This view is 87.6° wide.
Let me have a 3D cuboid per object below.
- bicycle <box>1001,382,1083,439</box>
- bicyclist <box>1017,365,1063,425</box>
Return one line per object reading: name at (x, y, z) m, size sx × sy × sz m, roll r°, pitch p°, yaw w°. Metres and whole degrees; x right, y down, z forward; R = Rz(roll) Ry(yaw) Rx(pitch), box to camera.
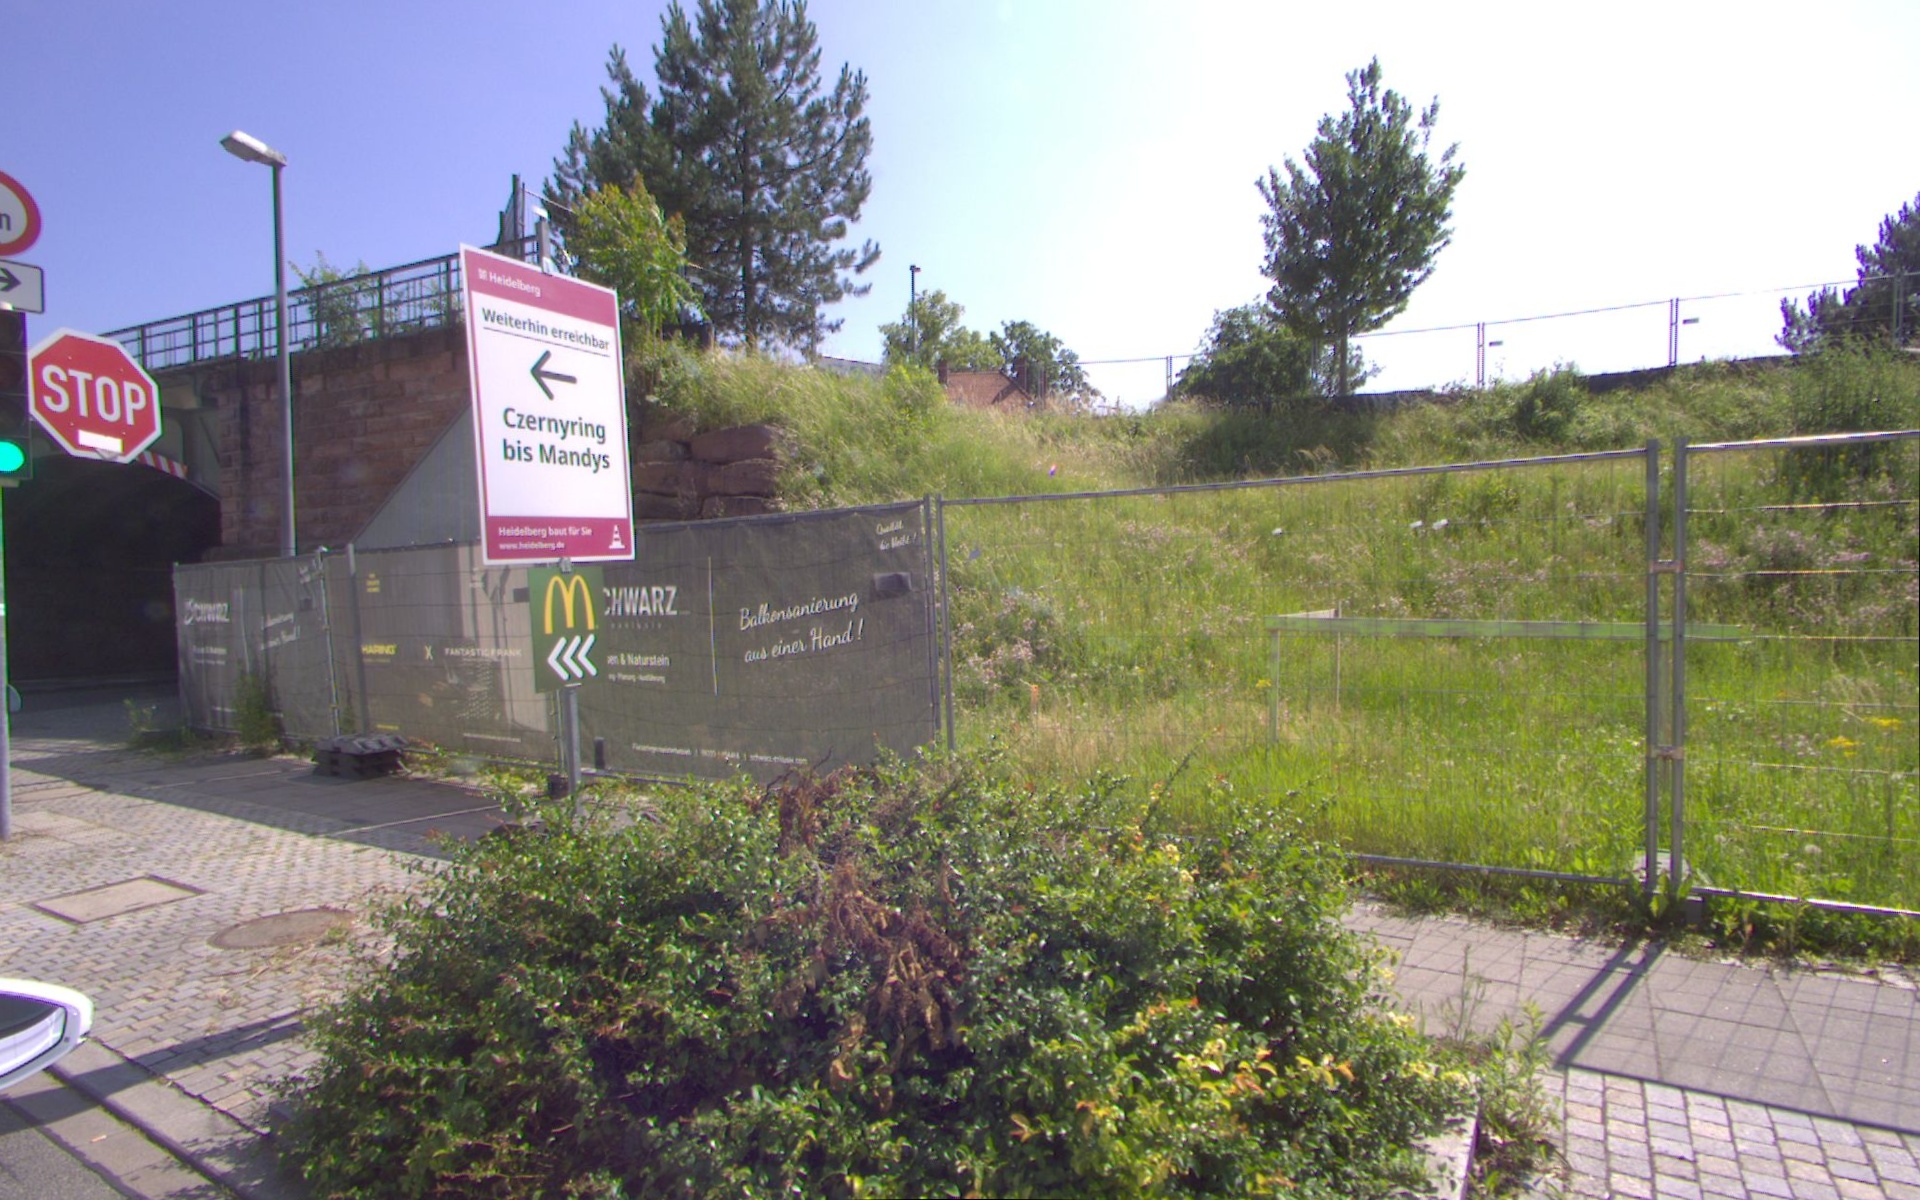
bicycle at (2.324, -5.368, 28.473) m, size 2.138 × 1.229 × 0.935 m, roll -1°, pitch -2°, yaw 23°
bicyclist at (2.283, -5.810, 28.495) m, size 1.045 × 1.406 × 0.951 m, roll -1°, pitch -2°, yaw 23°
